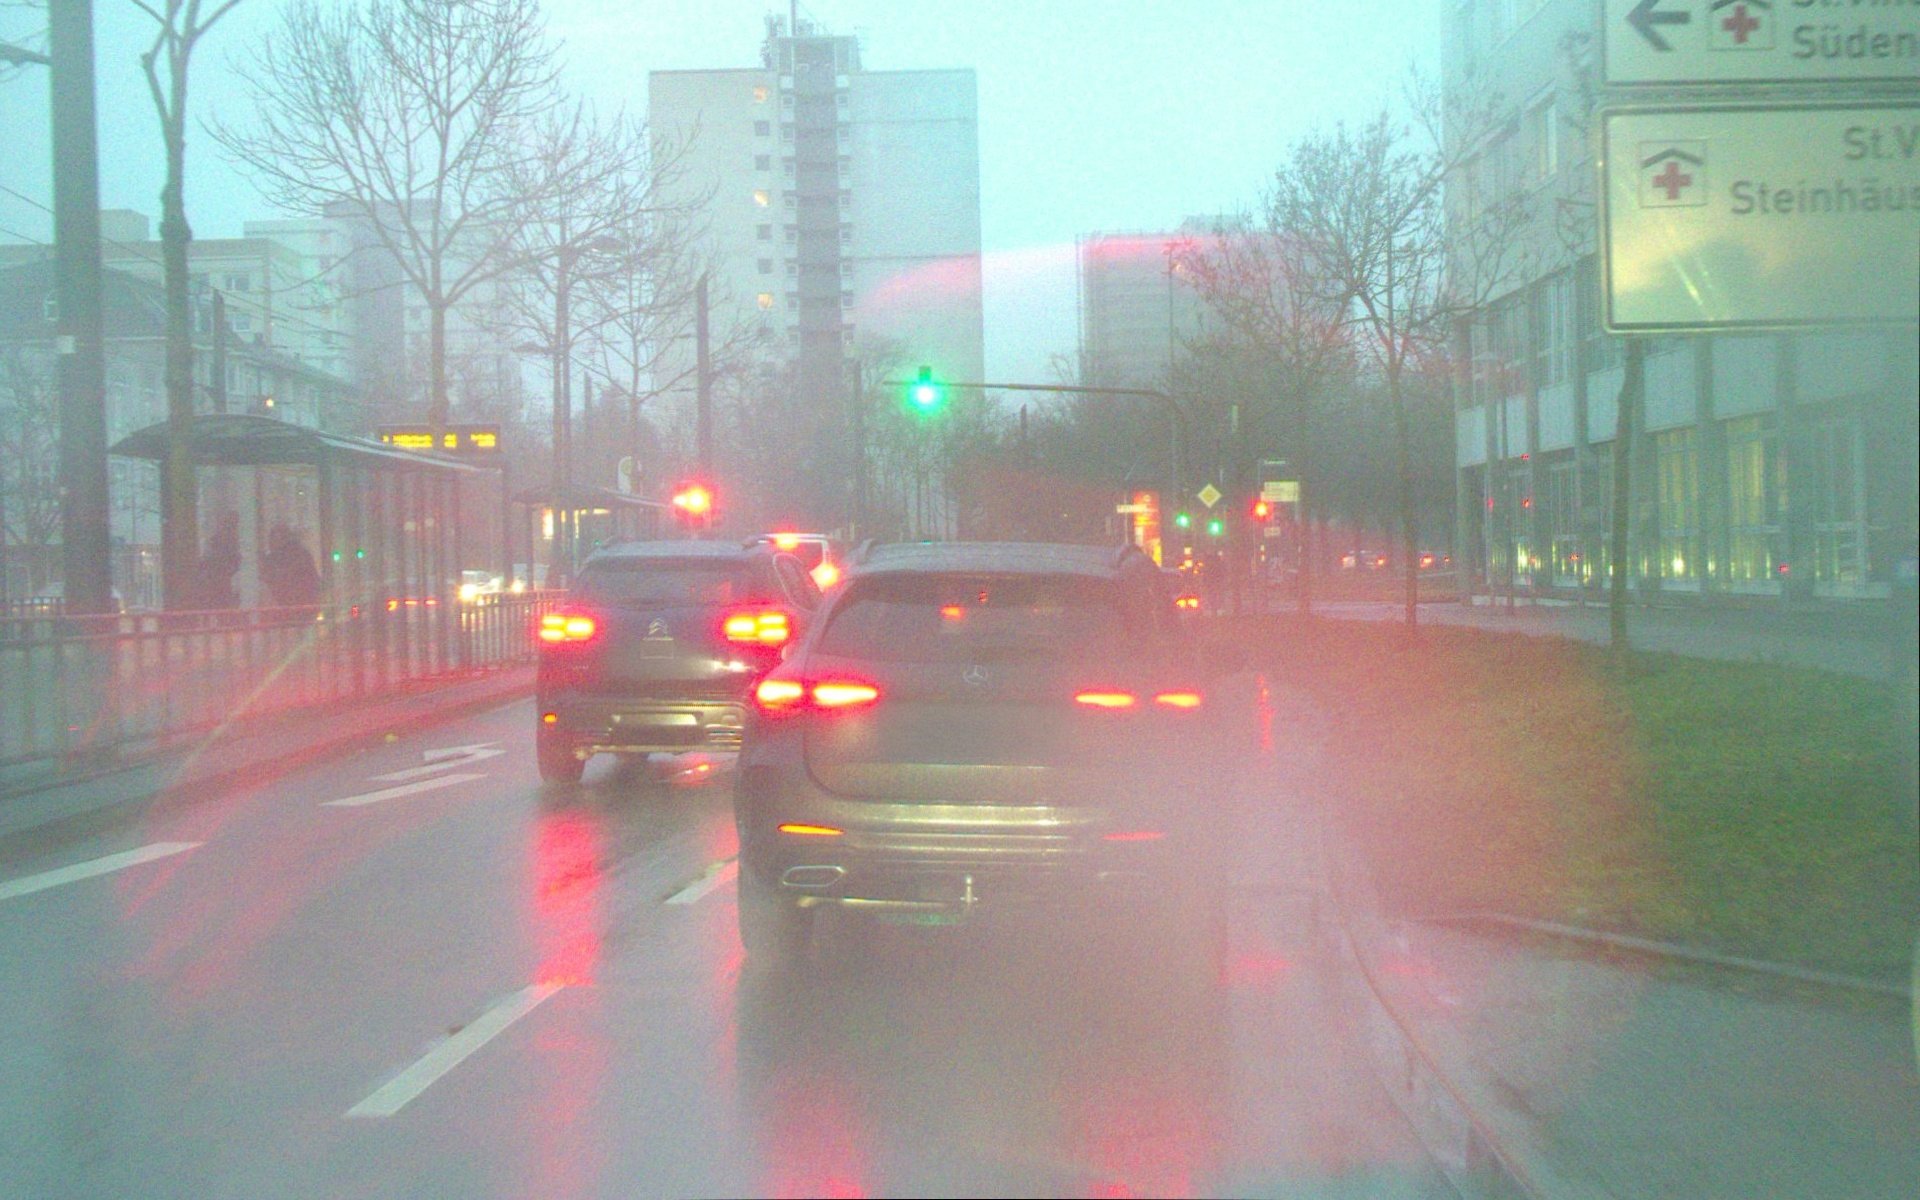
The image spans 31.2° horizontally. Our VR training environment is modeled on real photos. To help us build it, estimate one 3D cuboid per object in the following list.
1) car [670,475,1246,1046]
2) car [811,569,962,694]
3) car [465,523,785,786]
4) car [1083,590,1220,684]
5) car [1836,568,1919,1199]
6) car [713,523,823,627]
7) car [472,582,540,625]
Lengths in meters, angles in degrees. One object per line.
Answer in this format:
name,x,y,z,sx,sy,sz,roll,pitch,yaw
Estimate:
car,-0.114,0.569,13.943,1.993,1.969,4.068,0,0,-3
car,-0.978,0.425,47.475,1.993,1.636,4.022,0,0,0
car,-2.290,0.366,24.535,1.993,1.706,4.325,0,0,-2
car,2.975,0.559,54.159,1.886,1.349,4.102,0,1,0
car,2.788,0.627,5.866,1.591,1.389,3.487,-3,1,-1
car,-3.873,-0.512,70.025,1.952,2.026,4.883,0,1,0
car,-16.180,0.141,122.716,1.759,1.492,3.758,0,0,3
